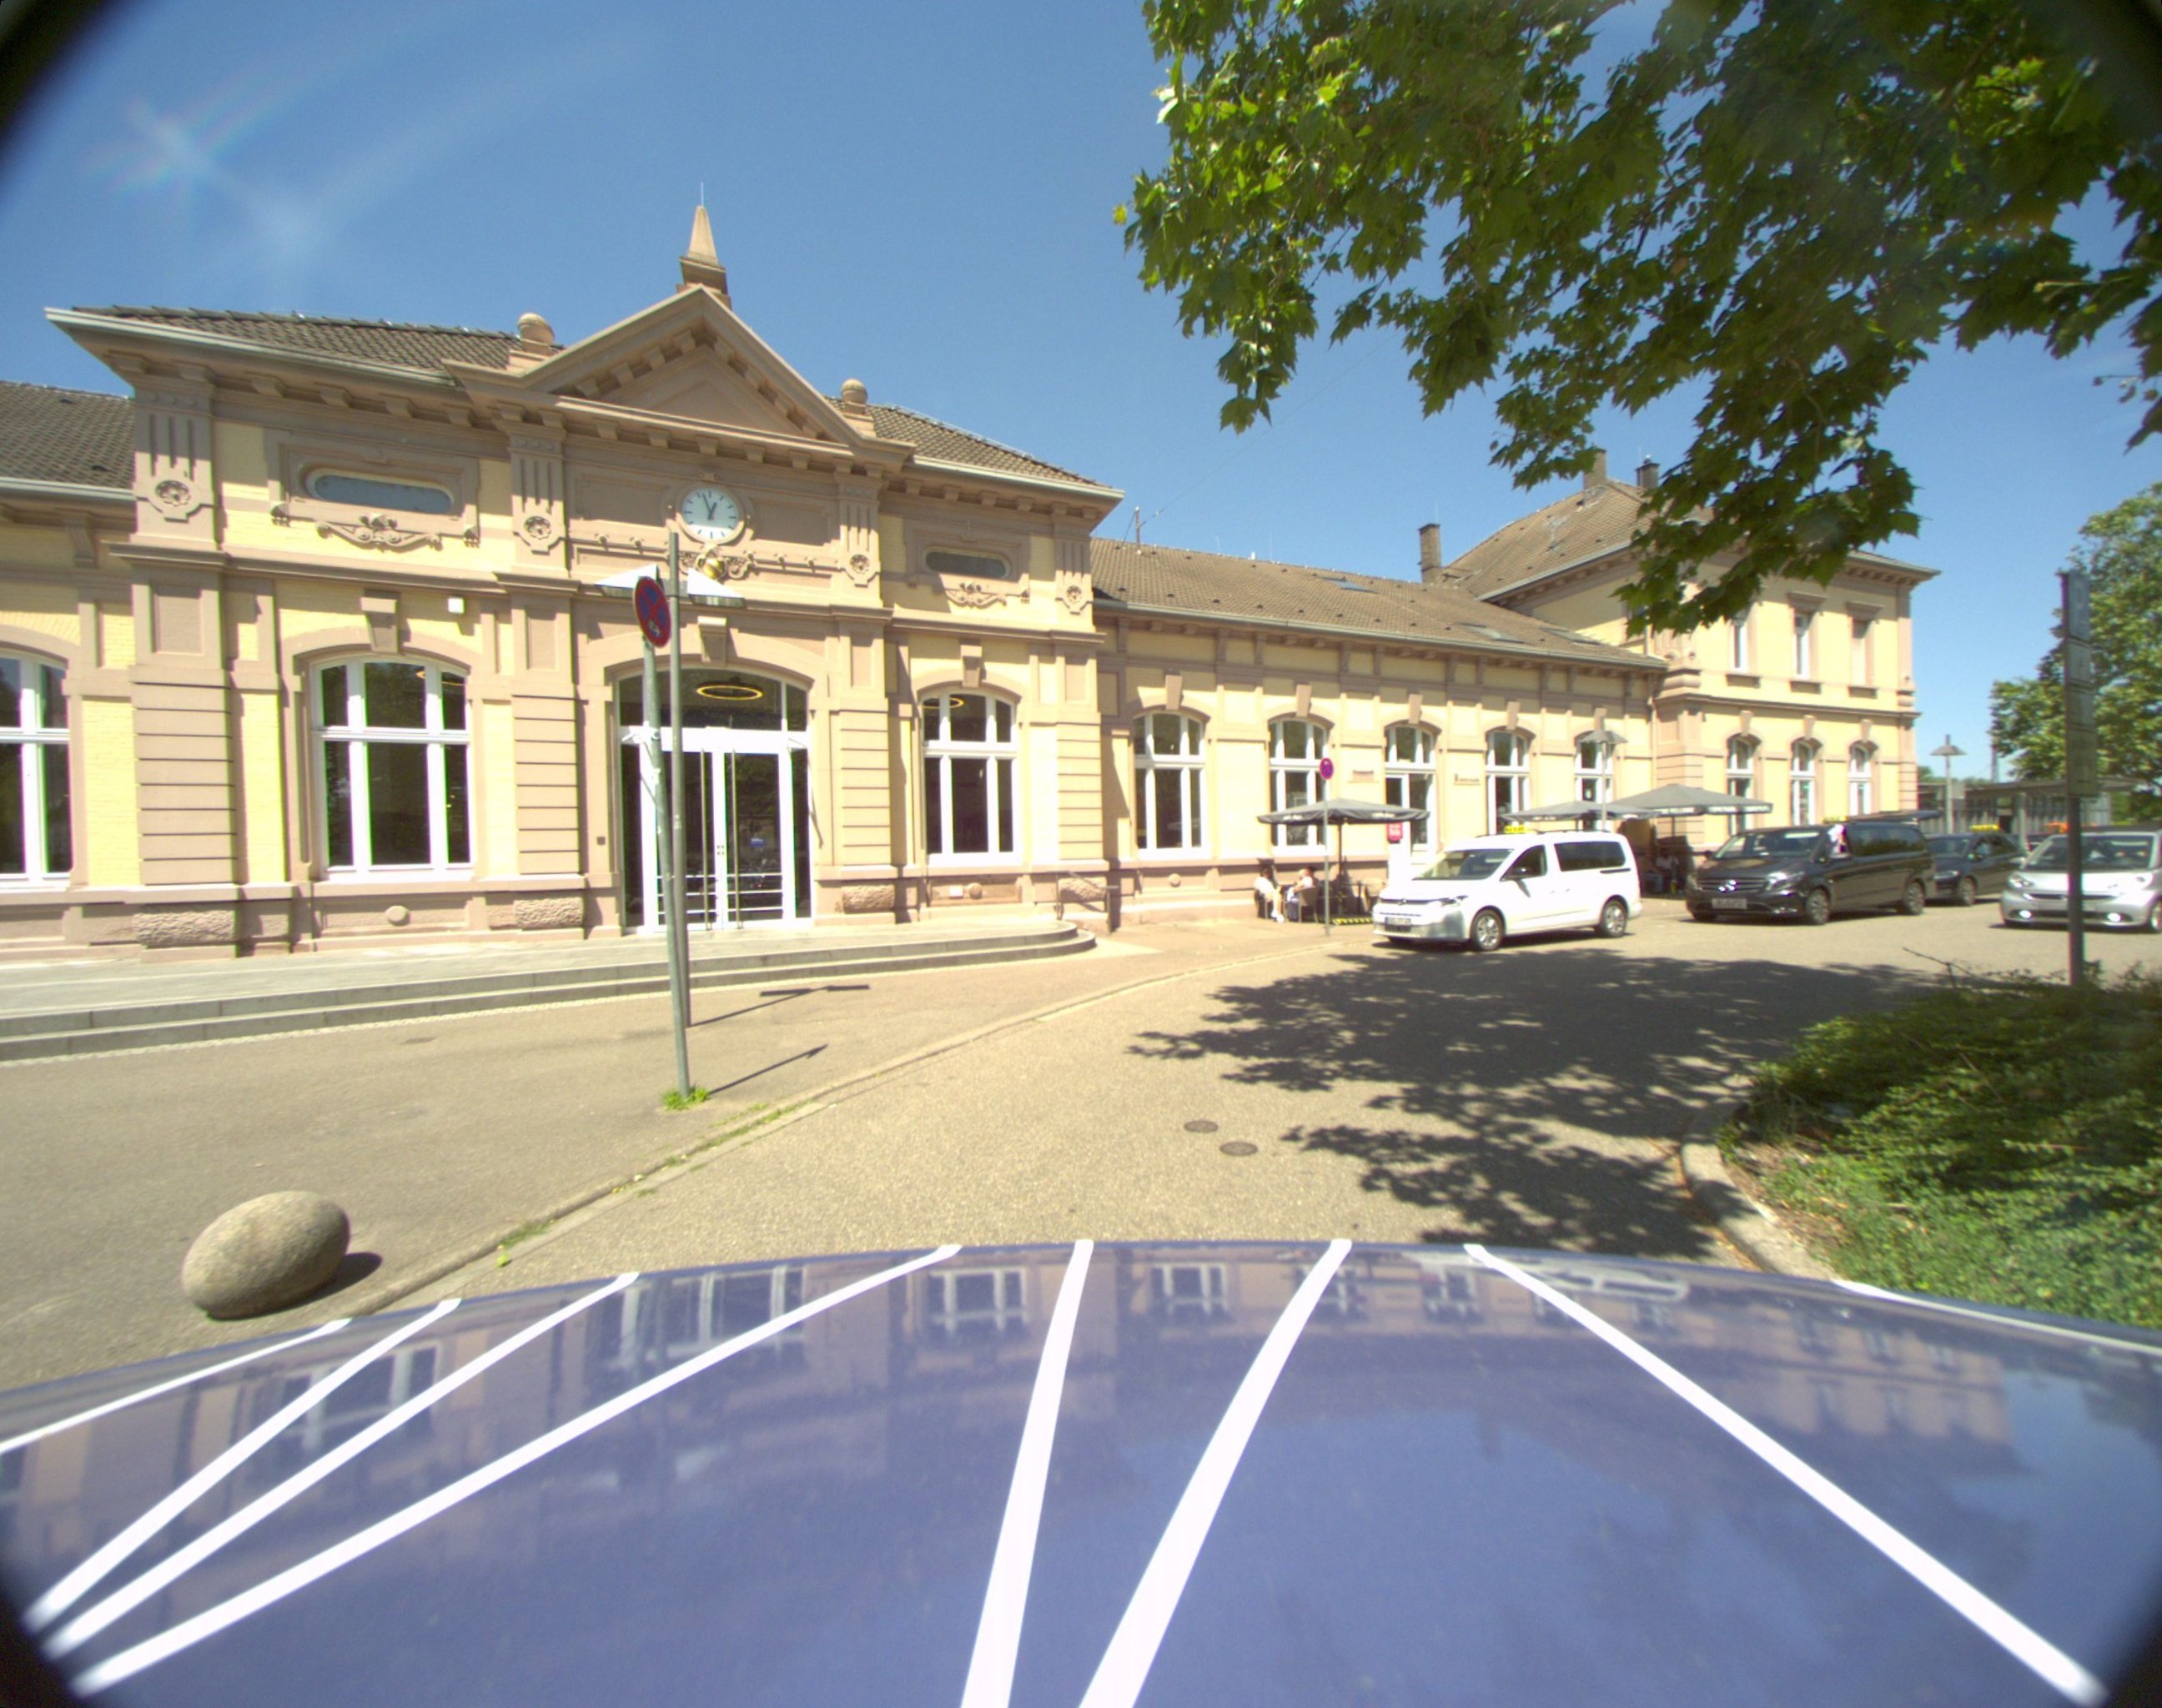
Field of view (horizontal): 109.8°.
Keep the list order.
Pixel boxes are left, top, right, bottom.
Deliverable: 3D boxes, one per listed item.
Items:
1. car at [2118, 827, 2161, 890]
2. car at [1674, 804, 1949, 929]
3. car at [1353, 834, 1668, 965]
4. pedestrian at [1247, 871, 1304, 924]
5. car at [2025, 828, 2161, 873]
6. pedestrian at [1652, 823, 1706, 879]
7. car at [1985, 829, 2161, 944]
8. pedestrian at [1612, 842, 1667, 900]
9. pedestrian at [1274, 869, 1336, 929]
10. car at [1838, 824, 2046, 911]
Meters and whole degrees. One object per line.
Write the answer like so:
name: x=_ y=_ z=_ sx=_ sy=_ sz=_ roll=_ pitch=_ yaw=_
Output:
car: x=34.095 y=0.072 z=23.184 sx=5.325 sy=1.829 sz=2.001 roll=-1 pitch=-1 yaw=-27
car: x=14.567 y=0.207 z=15.082 sx=5.834 sy=2.111 sz=2.089 roll=0 pitch=-1 yaw=-27
car: x=7.182 y=0.646 z=12.630 sx=5.145 sy=1.854 sz=1.812 roll=-1 pitch=-1 yaw=-24
pedestrian: x=4.273 y=0.935 z=16.700 sx=0.853 sy=1.074 sz=0.879 roll=-1 pitch=2 yaw=-25
car: x=52.131 y=-0.138 z=38.506 sx=2.054 sy=2.107 sz=4.957 roll=-2 pitch=-1 yaw=-23
pedestrian: x=16.925 y=-0.091 z=21.507 sx=0.853 sy=1.535 sz=0.879 roll=-1 pitch=2 yaw=-25
car: x=16.118 y=0.427 z=11.863 sx=3.109 sy=1.584 sz=1.599 roll=-1 pitch=0 yaw=-20
pedestrian: x=15.309 y=0.452 z=20.840 sx=0.853 sy=1.535 sz=0.879 roll=-1 pitch=2 yaw=-25
pedestrian: x=4.664 y=0.921 z=15.845 sx=0.853 sy=1.155 sz=0.879 roll=-1 pitch=2 yaw=-25
car: x=20.441 y=0.289 z=18.023 sx=4.847 sy=1.829 sz=2.076 roll=0 pitch=-1 yaw=-27
